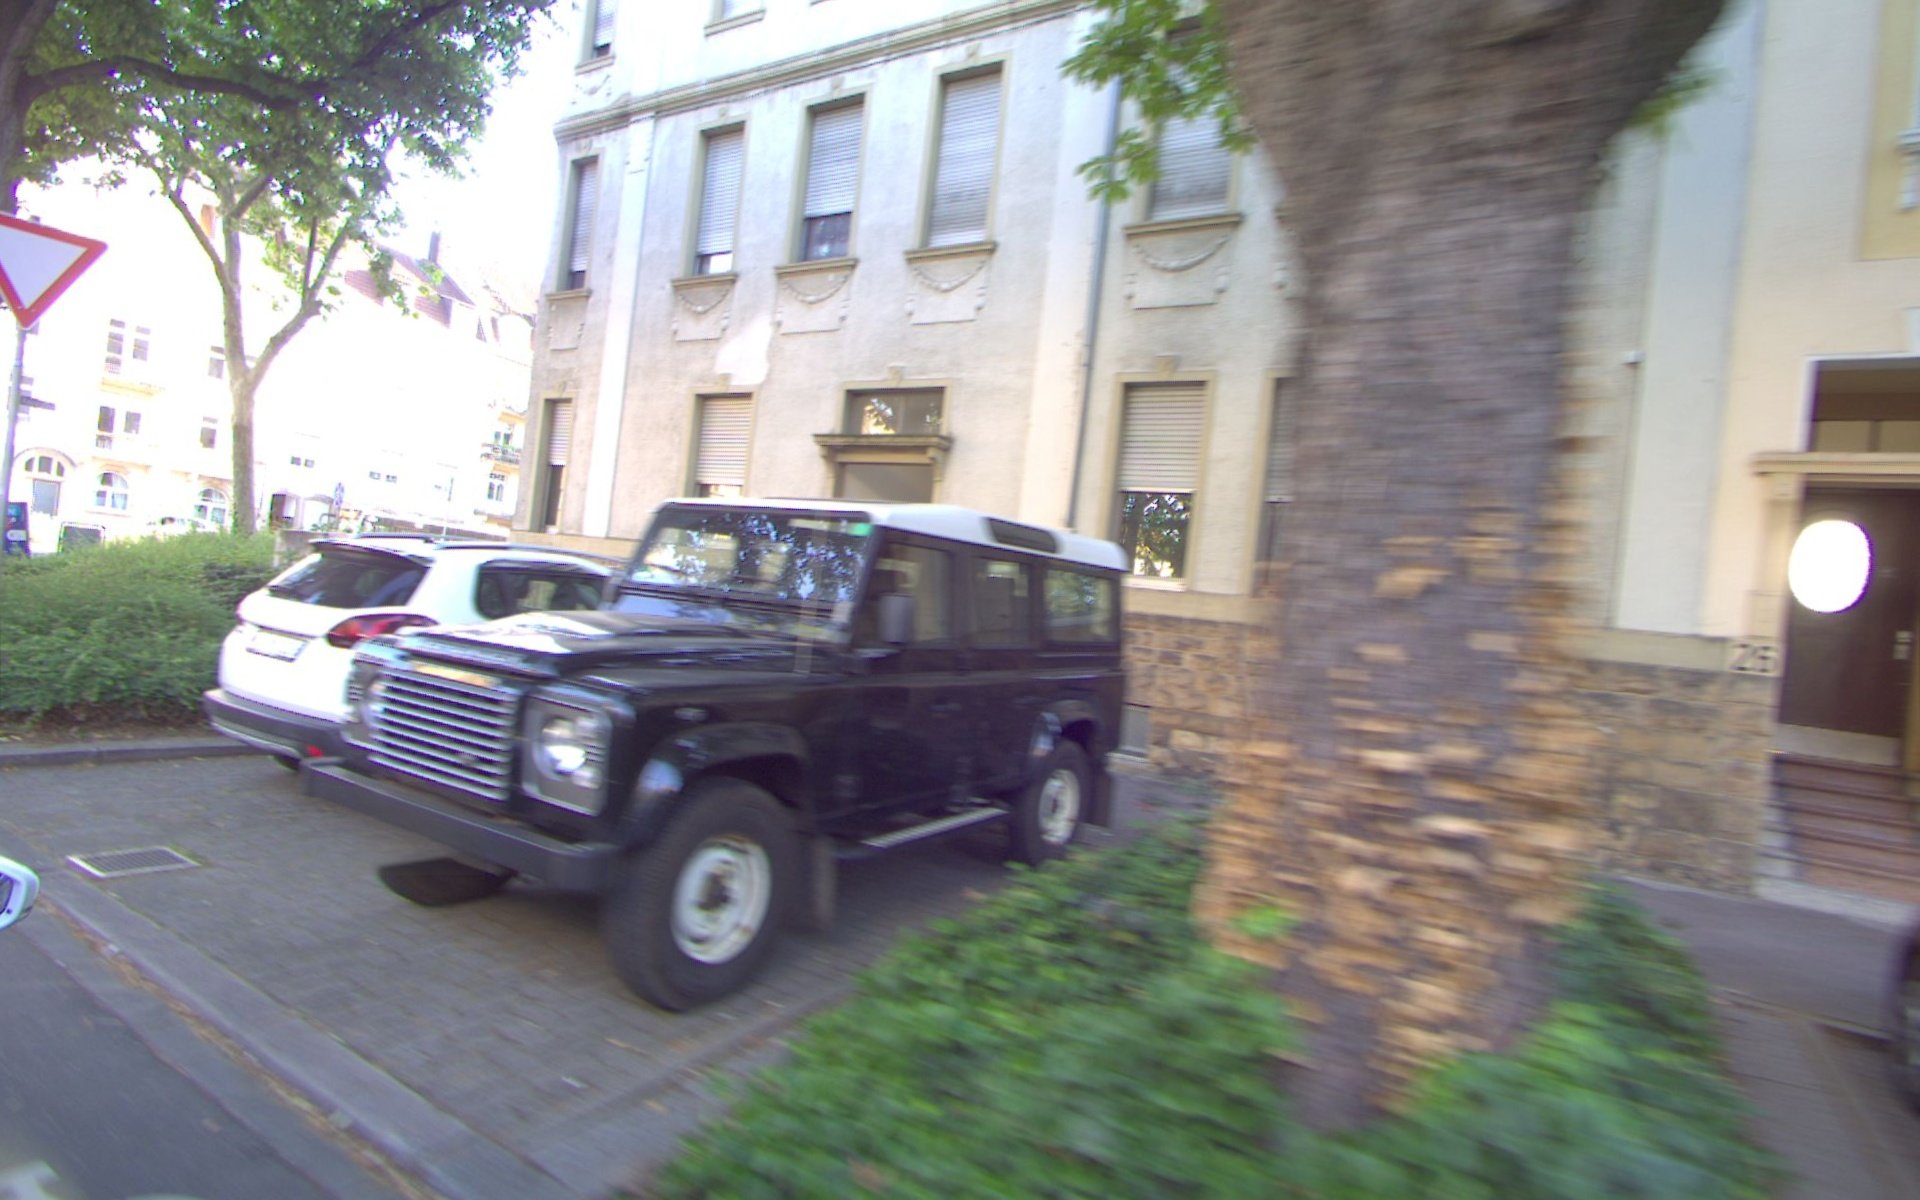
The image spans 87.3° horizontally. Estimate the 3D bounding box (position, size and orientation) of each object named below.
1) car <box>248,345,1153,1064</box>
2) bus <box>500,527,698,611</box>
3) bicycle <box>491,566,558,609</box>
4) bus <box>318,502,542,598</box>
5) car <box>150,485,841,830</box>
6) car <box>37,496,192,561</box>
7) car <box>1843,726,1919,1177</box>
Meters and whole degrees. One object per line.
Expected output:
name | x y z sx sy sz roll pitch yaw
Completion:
car | -0.684 0.410 5.156 1.731 2.008 4.426 3 -2 32
bus | -21.813 -1.716 61.946 3.210 3.412 11.966 6 -2 30
bicycle | -12.643 -0.346 29.285 0.364 1.081 1.872 7 -1 29
bus | -27.250 -2.461 52.474 3.221 3.412 9.889 6 -2 30
car | -2.784 0.377 7.012 1.655 1.595 4.042 7 0 30
car | -32.023 -2.680 38.206 1.905 1.703 3.994 6 -2 32
car | 3.907 1.272 2.260 1.940 1.647 4.207 6 -2 30
